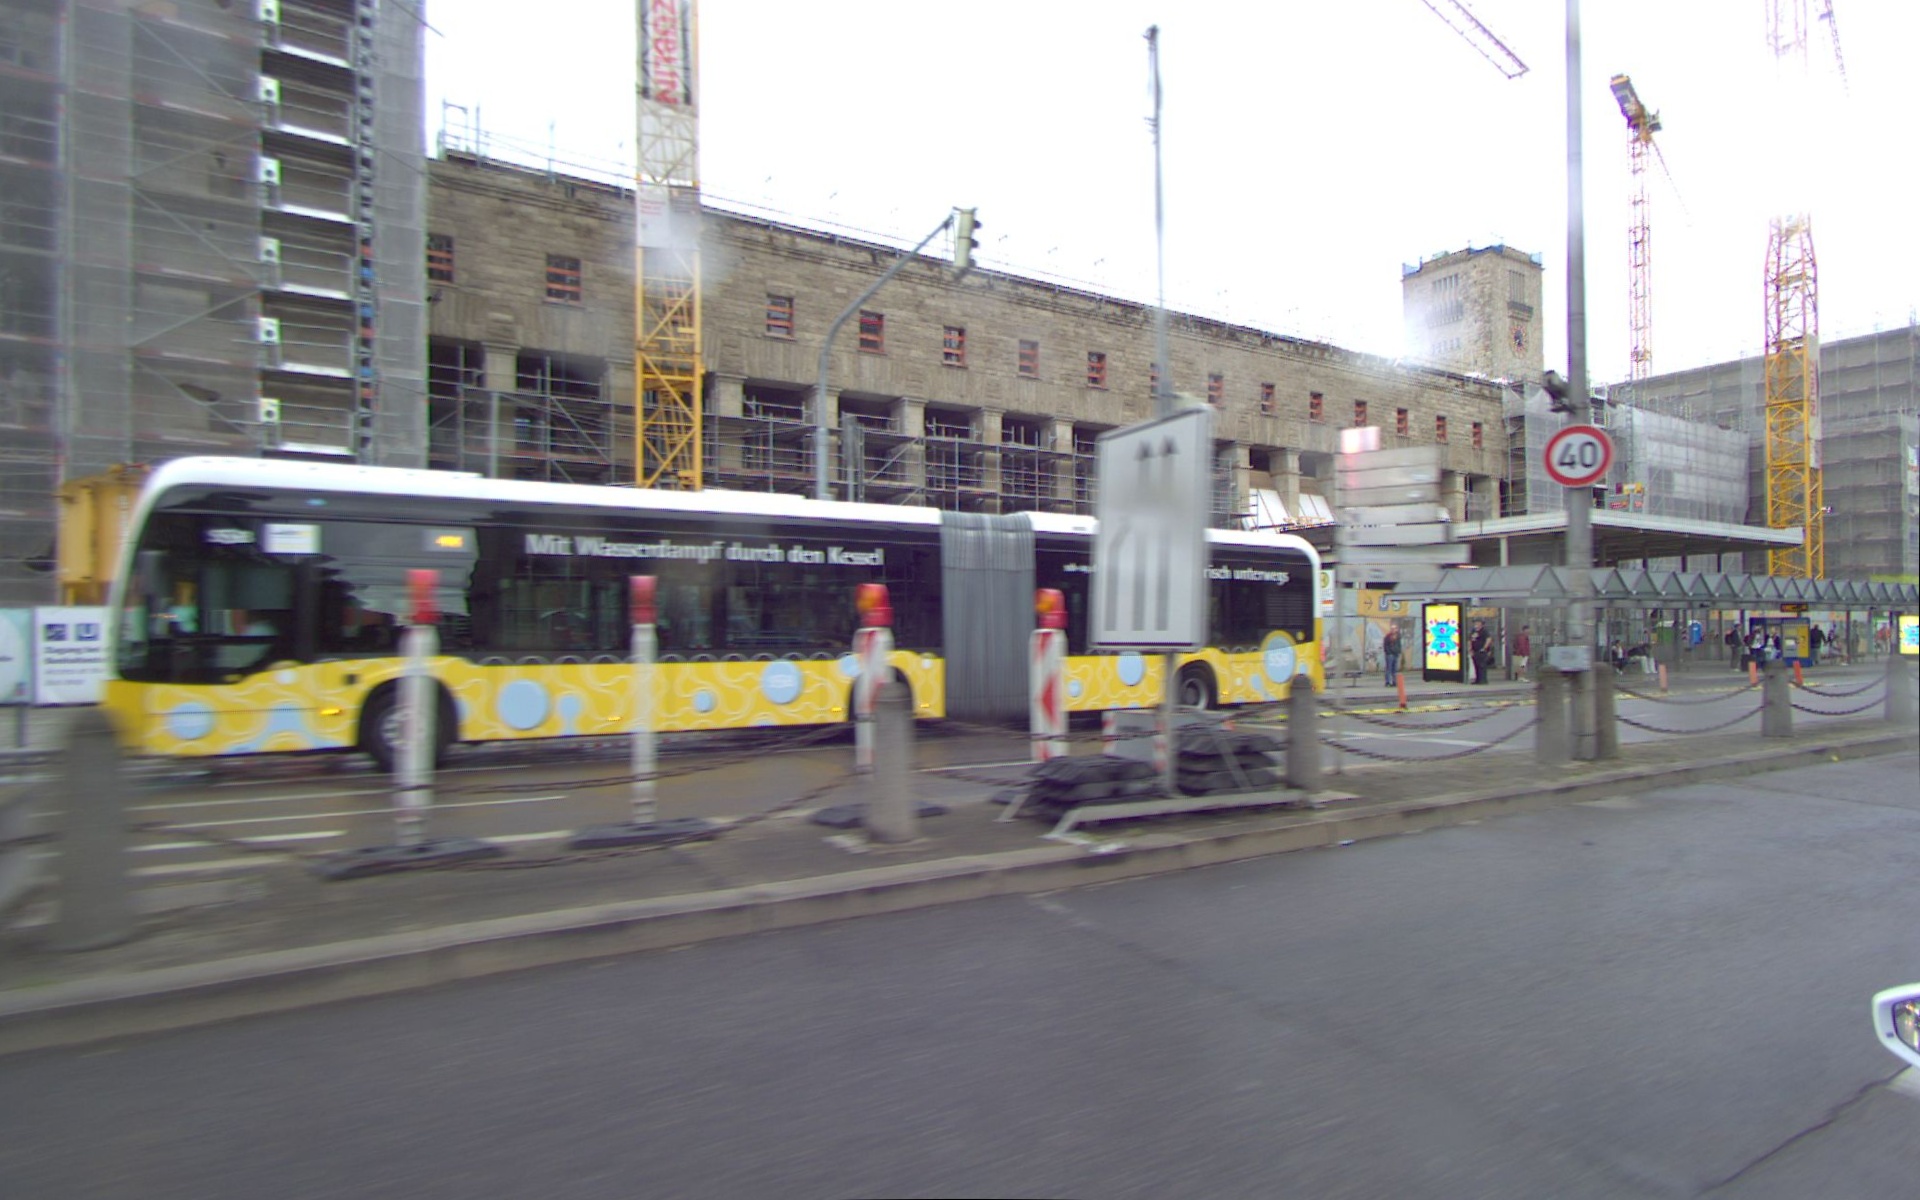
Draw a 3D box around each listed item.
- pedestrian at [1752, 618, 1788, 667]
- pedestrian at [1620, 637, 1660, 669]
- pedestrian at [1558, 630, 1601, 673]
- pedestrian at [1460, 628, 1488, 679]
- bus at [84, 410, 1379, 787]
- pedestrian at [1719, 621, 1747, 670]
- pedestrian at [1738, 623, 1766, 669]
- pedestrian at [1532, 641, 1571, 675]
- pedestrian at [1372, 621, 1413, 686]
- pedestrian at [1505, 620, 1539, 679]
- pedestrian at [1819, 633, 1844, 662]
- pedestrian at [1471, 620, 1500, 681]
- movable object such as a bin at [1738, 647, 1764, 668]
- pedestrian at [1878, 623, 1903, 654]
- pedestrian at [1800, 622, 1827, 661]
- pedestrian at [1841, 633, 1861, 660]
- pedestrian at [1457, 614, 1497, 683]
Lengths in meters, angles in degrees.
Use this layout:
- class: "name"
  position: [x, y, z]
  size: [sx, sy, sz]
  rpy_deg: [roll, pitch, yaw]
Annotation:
- class: "pedestrian"
  position: [30.340, 1.578, 37.629]
  size: [0.849, 1.814, 0.773]
  rpy_deg: [1, -1, -25]
- class: "pedestrian"
  position: [25.614, 1.986, 37.837]
  size: [1.043, 1.173, 0.944]
  rpy_deg: [1, -1, -32]
- class: "pedestrian"
  position: [21.703, 1.788, 35.181]
  size: [0.822, 1.451, 1.049]
  rpy_deg: [1, -1, -33]
- class: "pedestrian"
  position: [16.868, 1.741, 32.977]
  size: [0.799, 1.652, 0.551]
  rpy_deg: [1, -1, -40]
- class: "bus"
  position: [-0.918, 0.188, 15.647]
  size: [18.850, 3.624, 2.897]
  rpy_deg: [1, -2, -30]
- class: "pedestrian"
  position: [29.950, 1.763, 38.934]
  size: [0.664, 1.872, 0.558]
  rpy_deg: [0, -1, 14]
- class: "pedestrian"
  position: [31.501, 1.830, 39.969]
  size: [0.769, 1.814, 0.671]
  rpy_deg: [0, -1, 31]
- class: "pedestrian"
  position: [20.056, 1.948, 34.047]
  size: [0.916, 1.107, 0.839]
  rpy_deg: [1, -1, -33]
- class: "pedestrian"
  position: [12.193, 1.498, 28.329]
  size: [0.782, 1.814, 0.698]
  rpy_deg: [1, -1, -20]
- class: "pedestrian"
  position: [17.551, 1.525, 31.361]
  size: [0.741, 1.814, 0.718]
  rpy_deg: [1, -1, -37]
- class: "pedestrian"
  position: [40.899, 2.230, 47.138]
  size: [0.797, 1.343, 0.695]
  rpy_deg: [1, -1, -33]
- class: "pedestrian"
  position: [16.024, 1.528, 30.630]
  size: [0.799, 1.814, 0.551]
  rpy_deg: [1, -1, -40]
- class: "movable object such as a bin"
  position: [30.598, 2.230, 38.873]
  size: [0.621, 0.800, 0.512]
  rpy_deg: [0, -2, 13]
- class: "pedestrian"
  position: [58.480, 2.399, 63.135]
  size: [1.033, 1.866, 0.852]
  rpy_deg: [1, 1, -32]
- class: "pedestrian"
  position: [42.260, 2.046, 49.743]
  size: [0.689, 1.865, 0.745]
  rpy_deg: [0, -1, -12]
- class: "pedestrian"
  position: [53.461, 2.794, 60.267]
  size: [0.695, 1.568, 0.797]
  rpy_deg: [1, -1, -37]
- class: "pedestrian"
  position: [15.191, 1.402, 29.497]
  size: [0.814, 1.985, 0.754]
  rpy_deg: [1, -1, -34]
